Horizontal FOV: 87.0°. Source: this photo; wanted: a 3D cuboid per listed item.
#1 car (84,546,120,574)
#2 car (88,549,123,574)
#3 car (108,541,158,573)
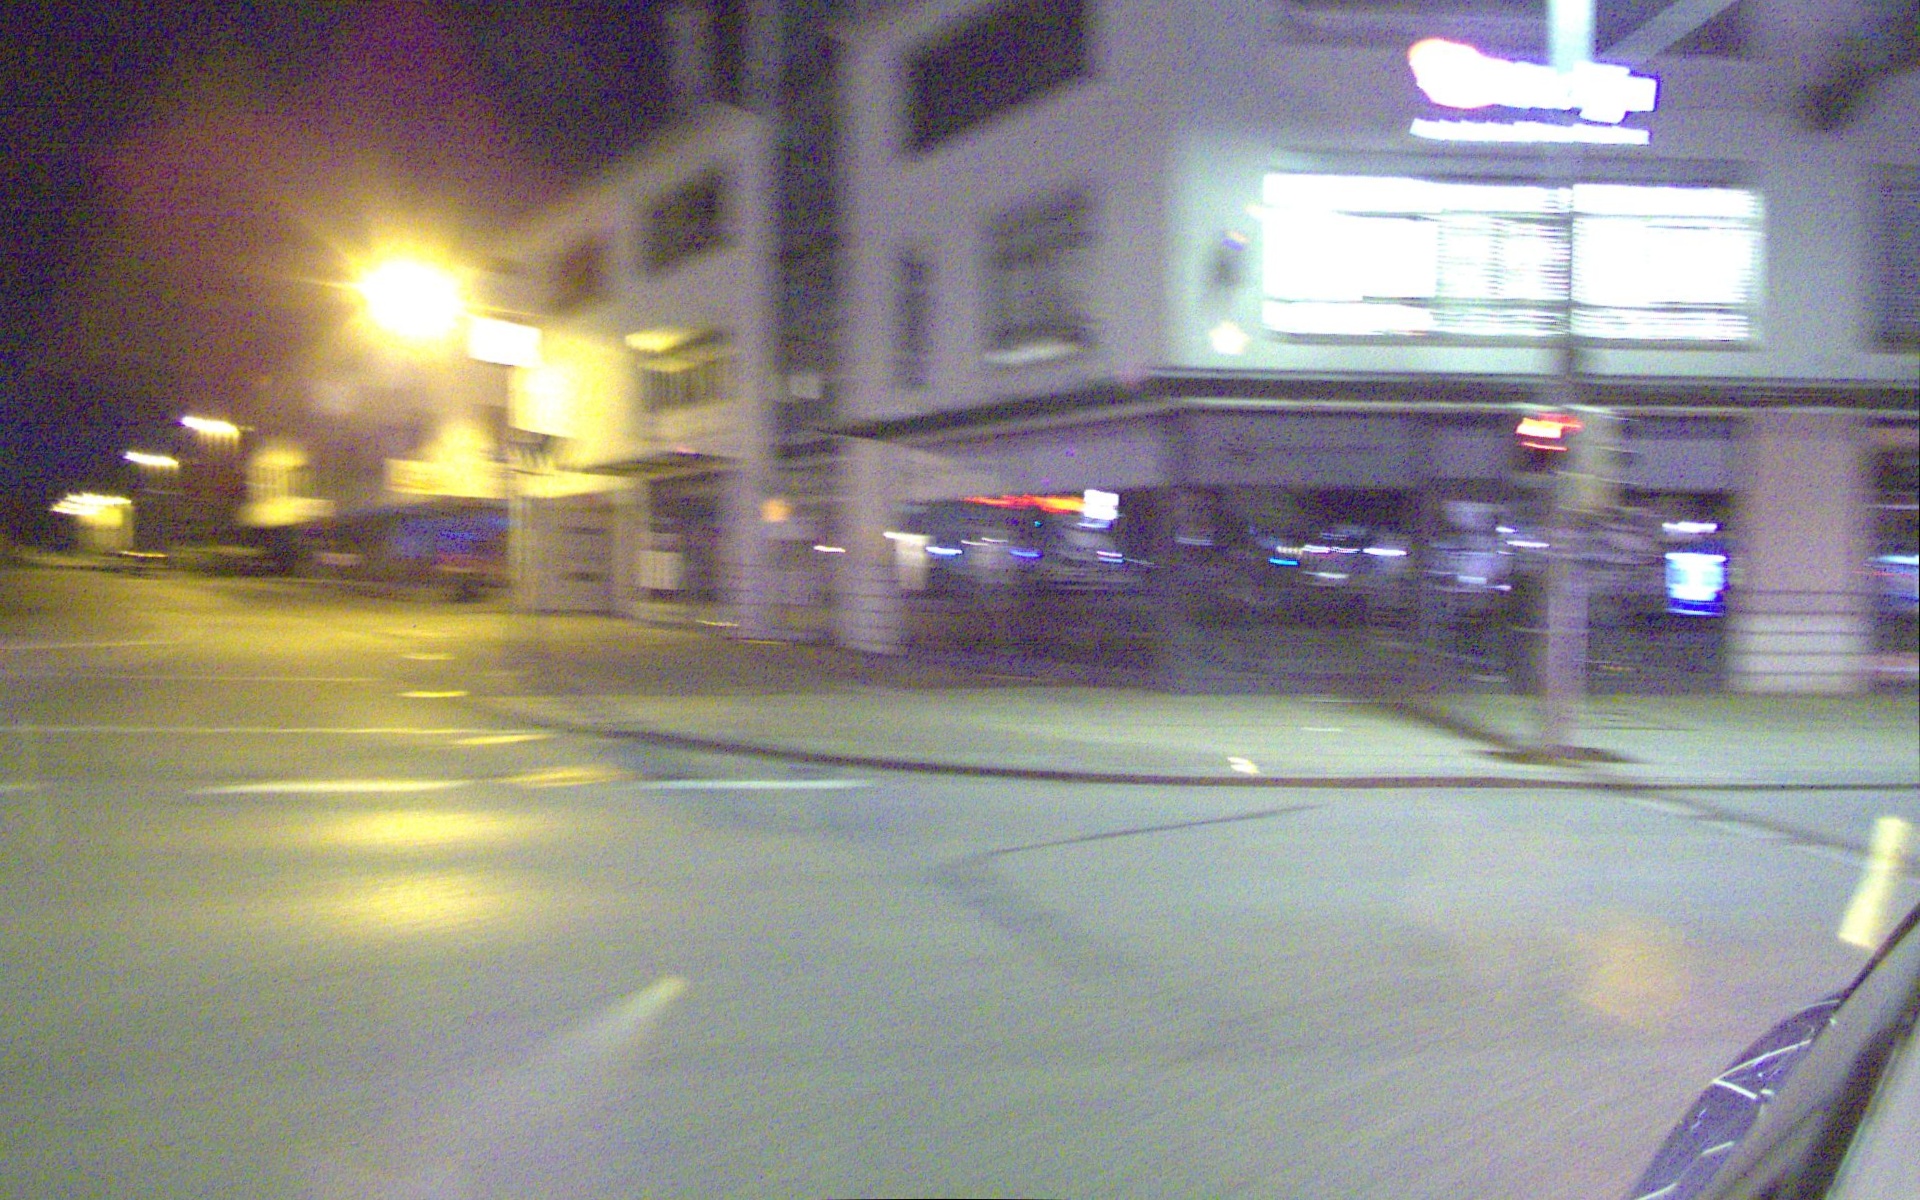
[{"bbox_3d":[-62.226,-2.855,73.431,1.965,1.861,3.994,1,0,-40],"label":"car"},{"bbox_3d":[-65.685,-2.936,77.834,1.964,1.805,3.995,1,0,-40],"label":"car"},{"bbox_3d":[-49.589,-2.522,60.654,1.967,1.772,3.989,1,0,-44],"label":"car"}]
